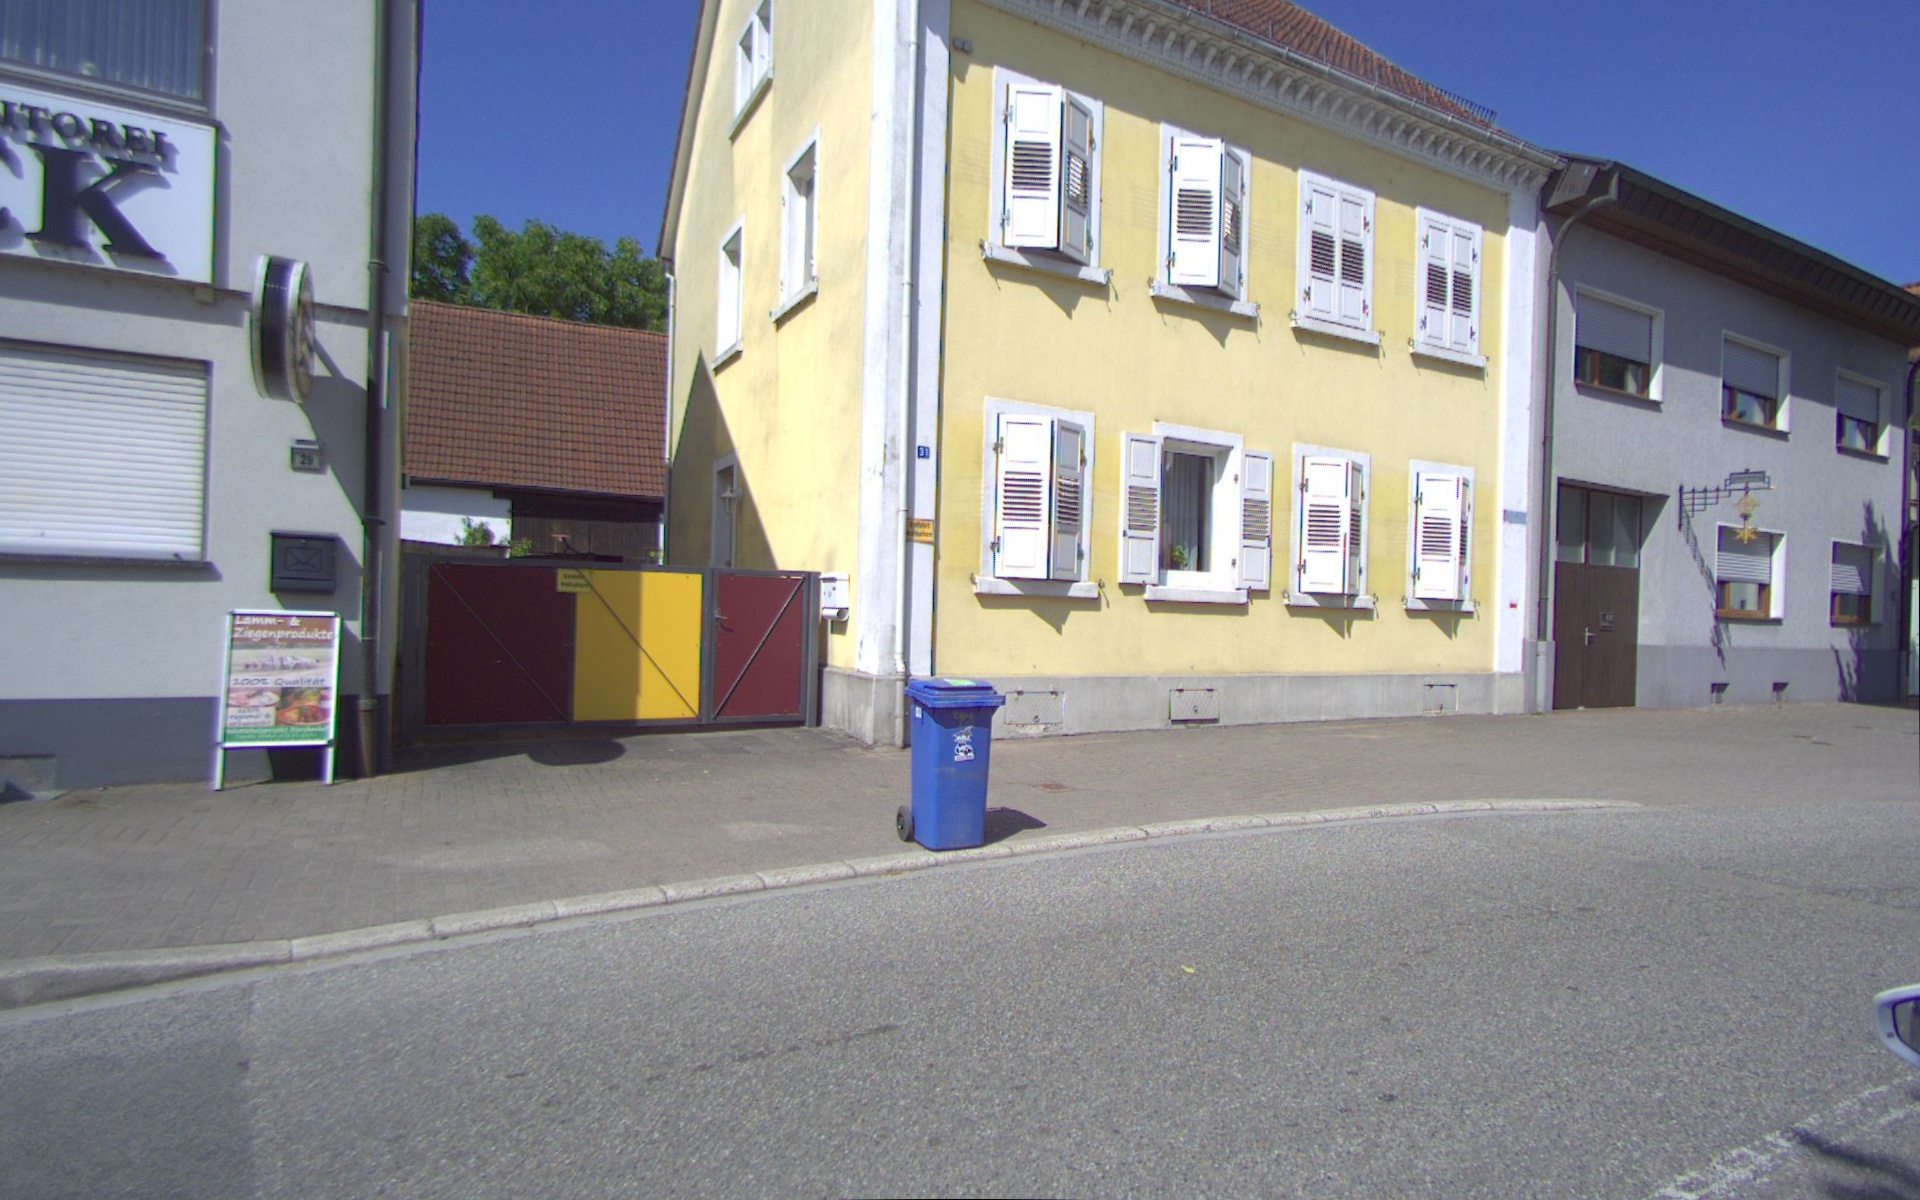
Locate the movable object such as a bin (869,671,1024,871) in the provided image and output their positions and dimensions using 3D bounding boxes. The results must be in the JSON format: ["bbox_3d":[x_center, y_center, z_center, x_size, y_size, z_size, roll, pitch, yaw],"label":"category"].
[{"bbox_3d":[-0.084,0.930,5.713,0.608,0.994,0.638,1,0,-37],"label":"movable object such as a bin"}]
